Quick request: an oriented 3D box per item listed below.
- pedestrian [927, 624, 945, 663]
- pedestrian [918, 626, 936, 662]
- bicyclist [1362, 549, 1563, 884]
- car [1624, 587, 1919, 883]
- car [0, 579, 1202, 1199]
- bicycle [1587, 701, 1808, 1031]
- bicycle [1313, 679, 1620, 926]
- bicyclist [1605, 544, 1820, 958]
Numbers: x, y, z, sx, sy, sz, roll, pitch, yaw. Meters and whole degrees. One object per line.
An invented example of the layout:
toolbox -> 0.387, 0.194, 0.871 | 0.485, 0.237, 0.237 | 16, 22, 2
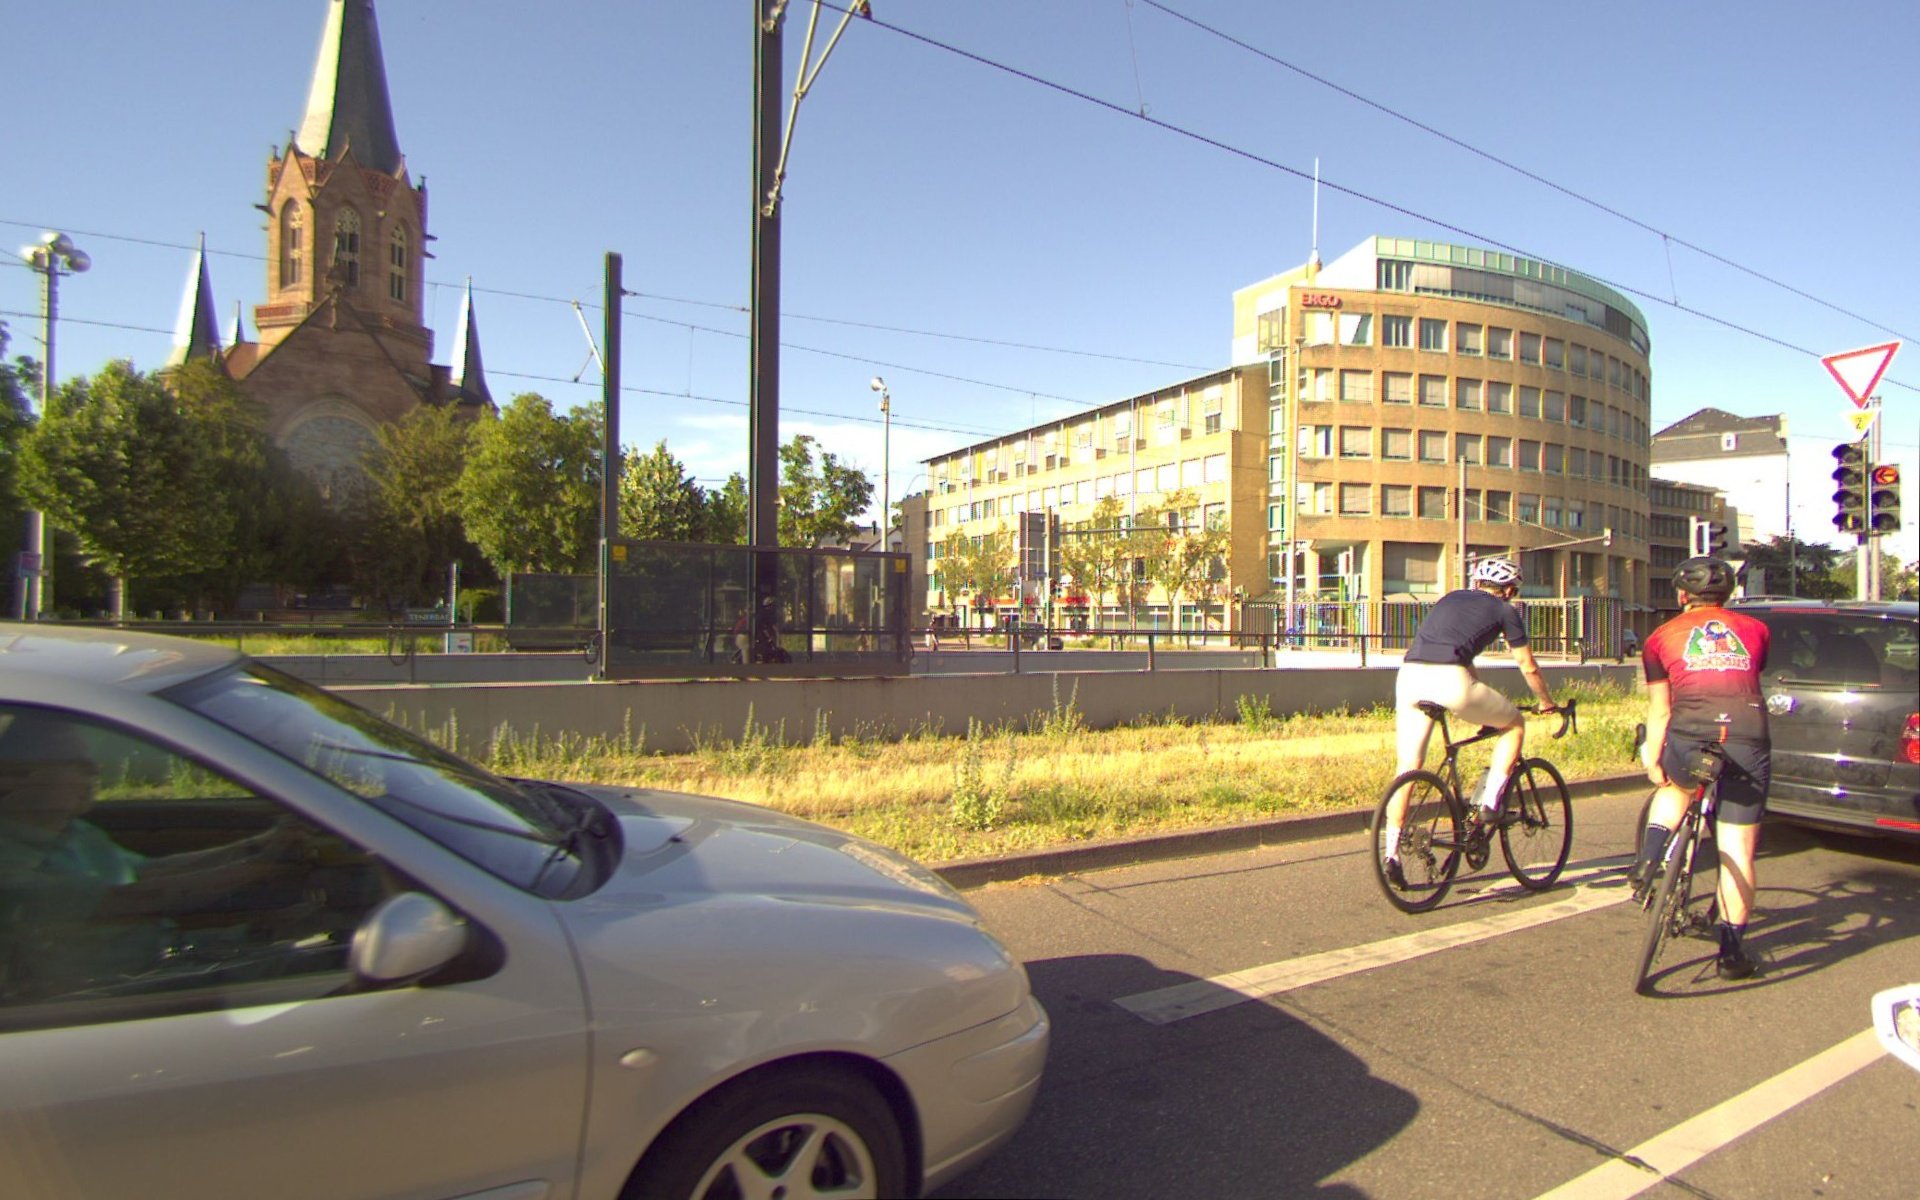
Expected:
pedestrian -> -0.976, 1.752, 40.862 | 0.561, 1.552, 0.440 | 1, 1, -30
pedestrian -> -1.372, 1.826, 41.575 | 0.484, 1.448, 0.609 | 1, 1, -30
bicyclist -> 2.591, 0.555, 5.202 | 0.678, 1.593, 0.614 | 1, 1, -29
car -> 6.699, 0.785, 7.190 | 3.953, 1.643, 1.696 | 1, -1, -30
car -> -1.553, 0.690, 2.067 | 3.953, 1.440, 1.636 | 2, 0, -30
bicycle -> 3.213, 1.027, 4.308 | 1.764, 1.071, 0.335 | 1, 1, -40
bicycle -> 2.679, 0.977, 5.223 | 1.931, 1.071, 0.372 | 1, 1, -29
bicyclist -> 3.240, 0.587, 4.323 | 0.681, 1.592, 0.611 | 1, -1, -41
